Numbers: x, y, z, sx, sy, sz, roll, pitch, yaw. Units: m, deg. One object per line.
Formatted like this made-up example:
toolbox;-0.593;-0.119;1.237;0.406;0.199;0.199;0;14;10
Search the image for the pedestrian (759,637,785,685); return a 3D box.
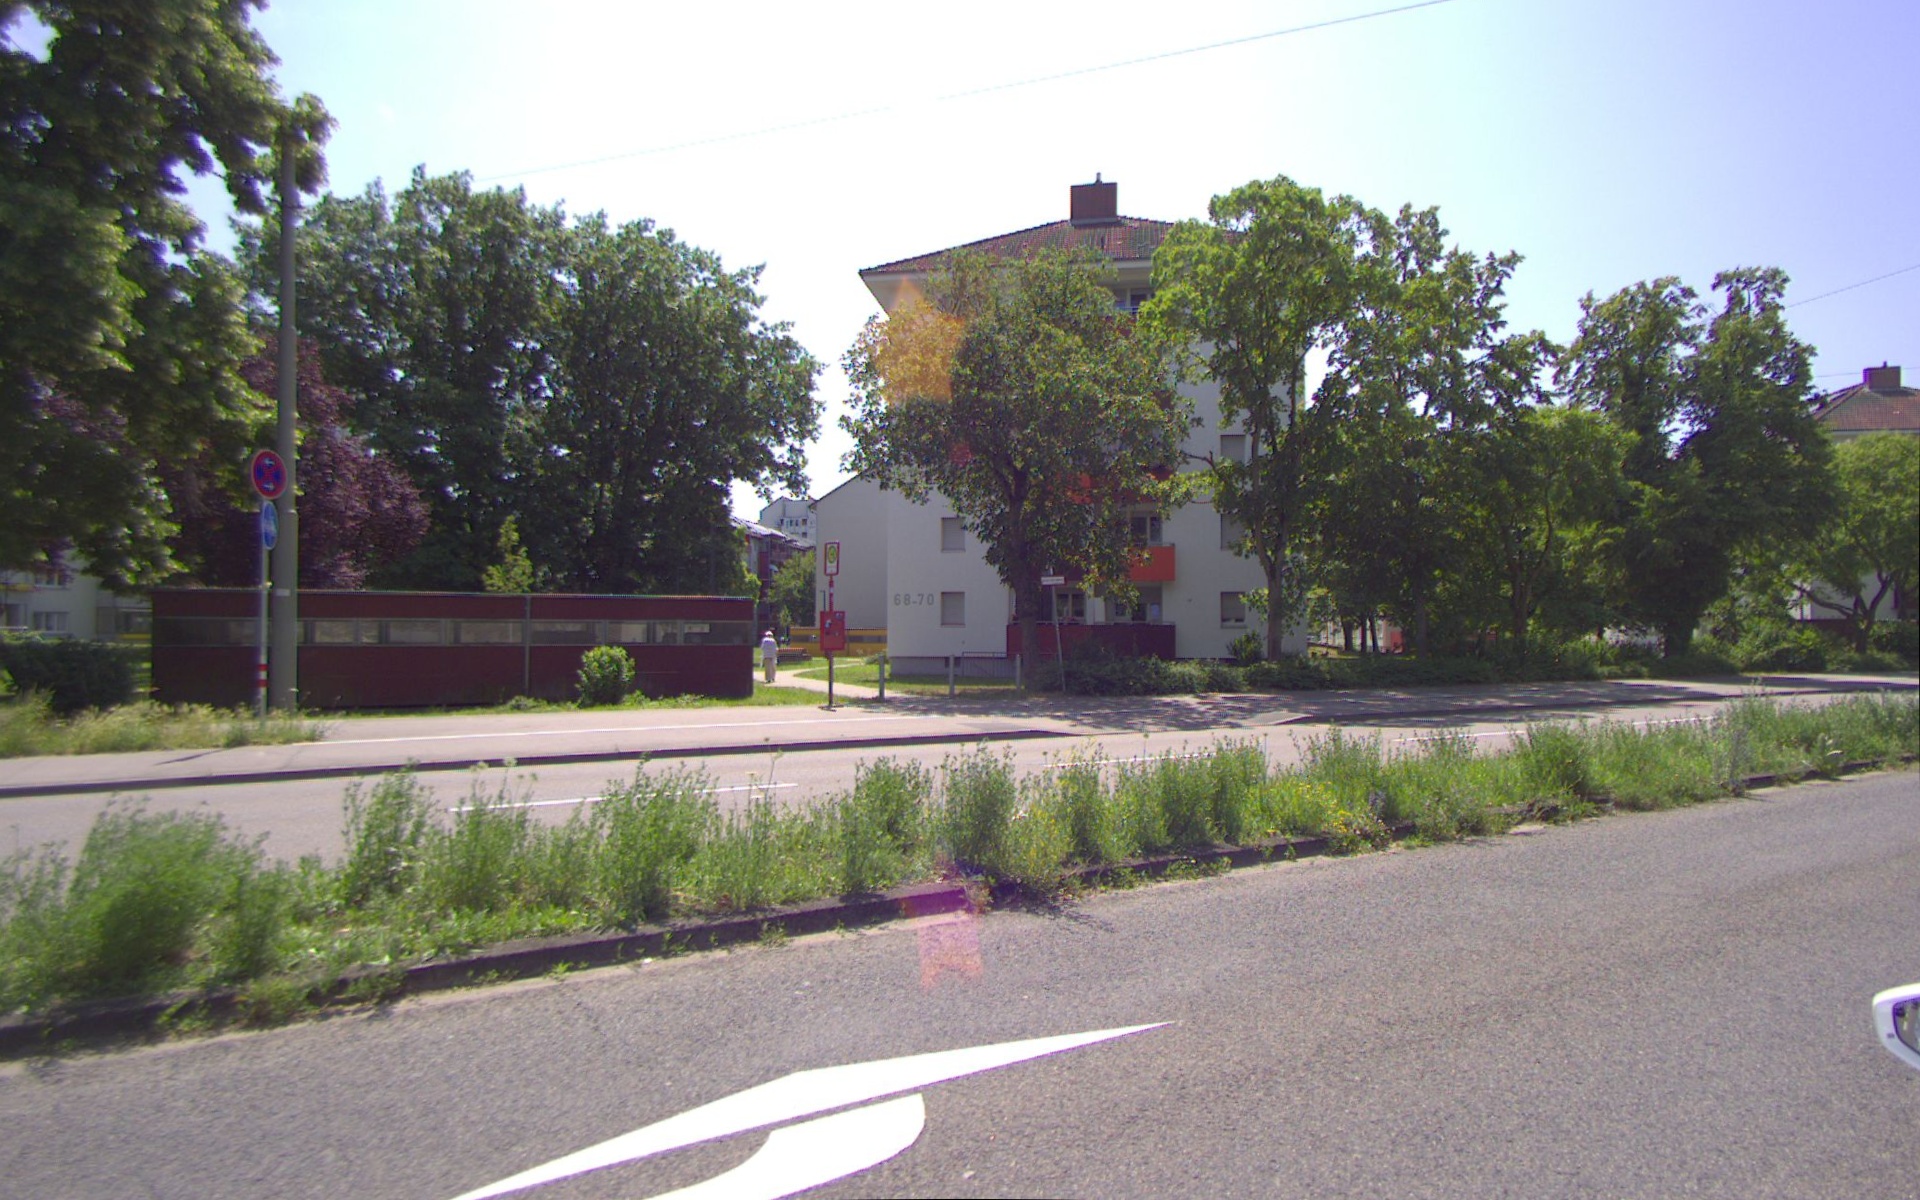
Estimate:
pedestrian;-5.778;1.868;30.792;0.679;1.450;0.471;1;-2;-27
